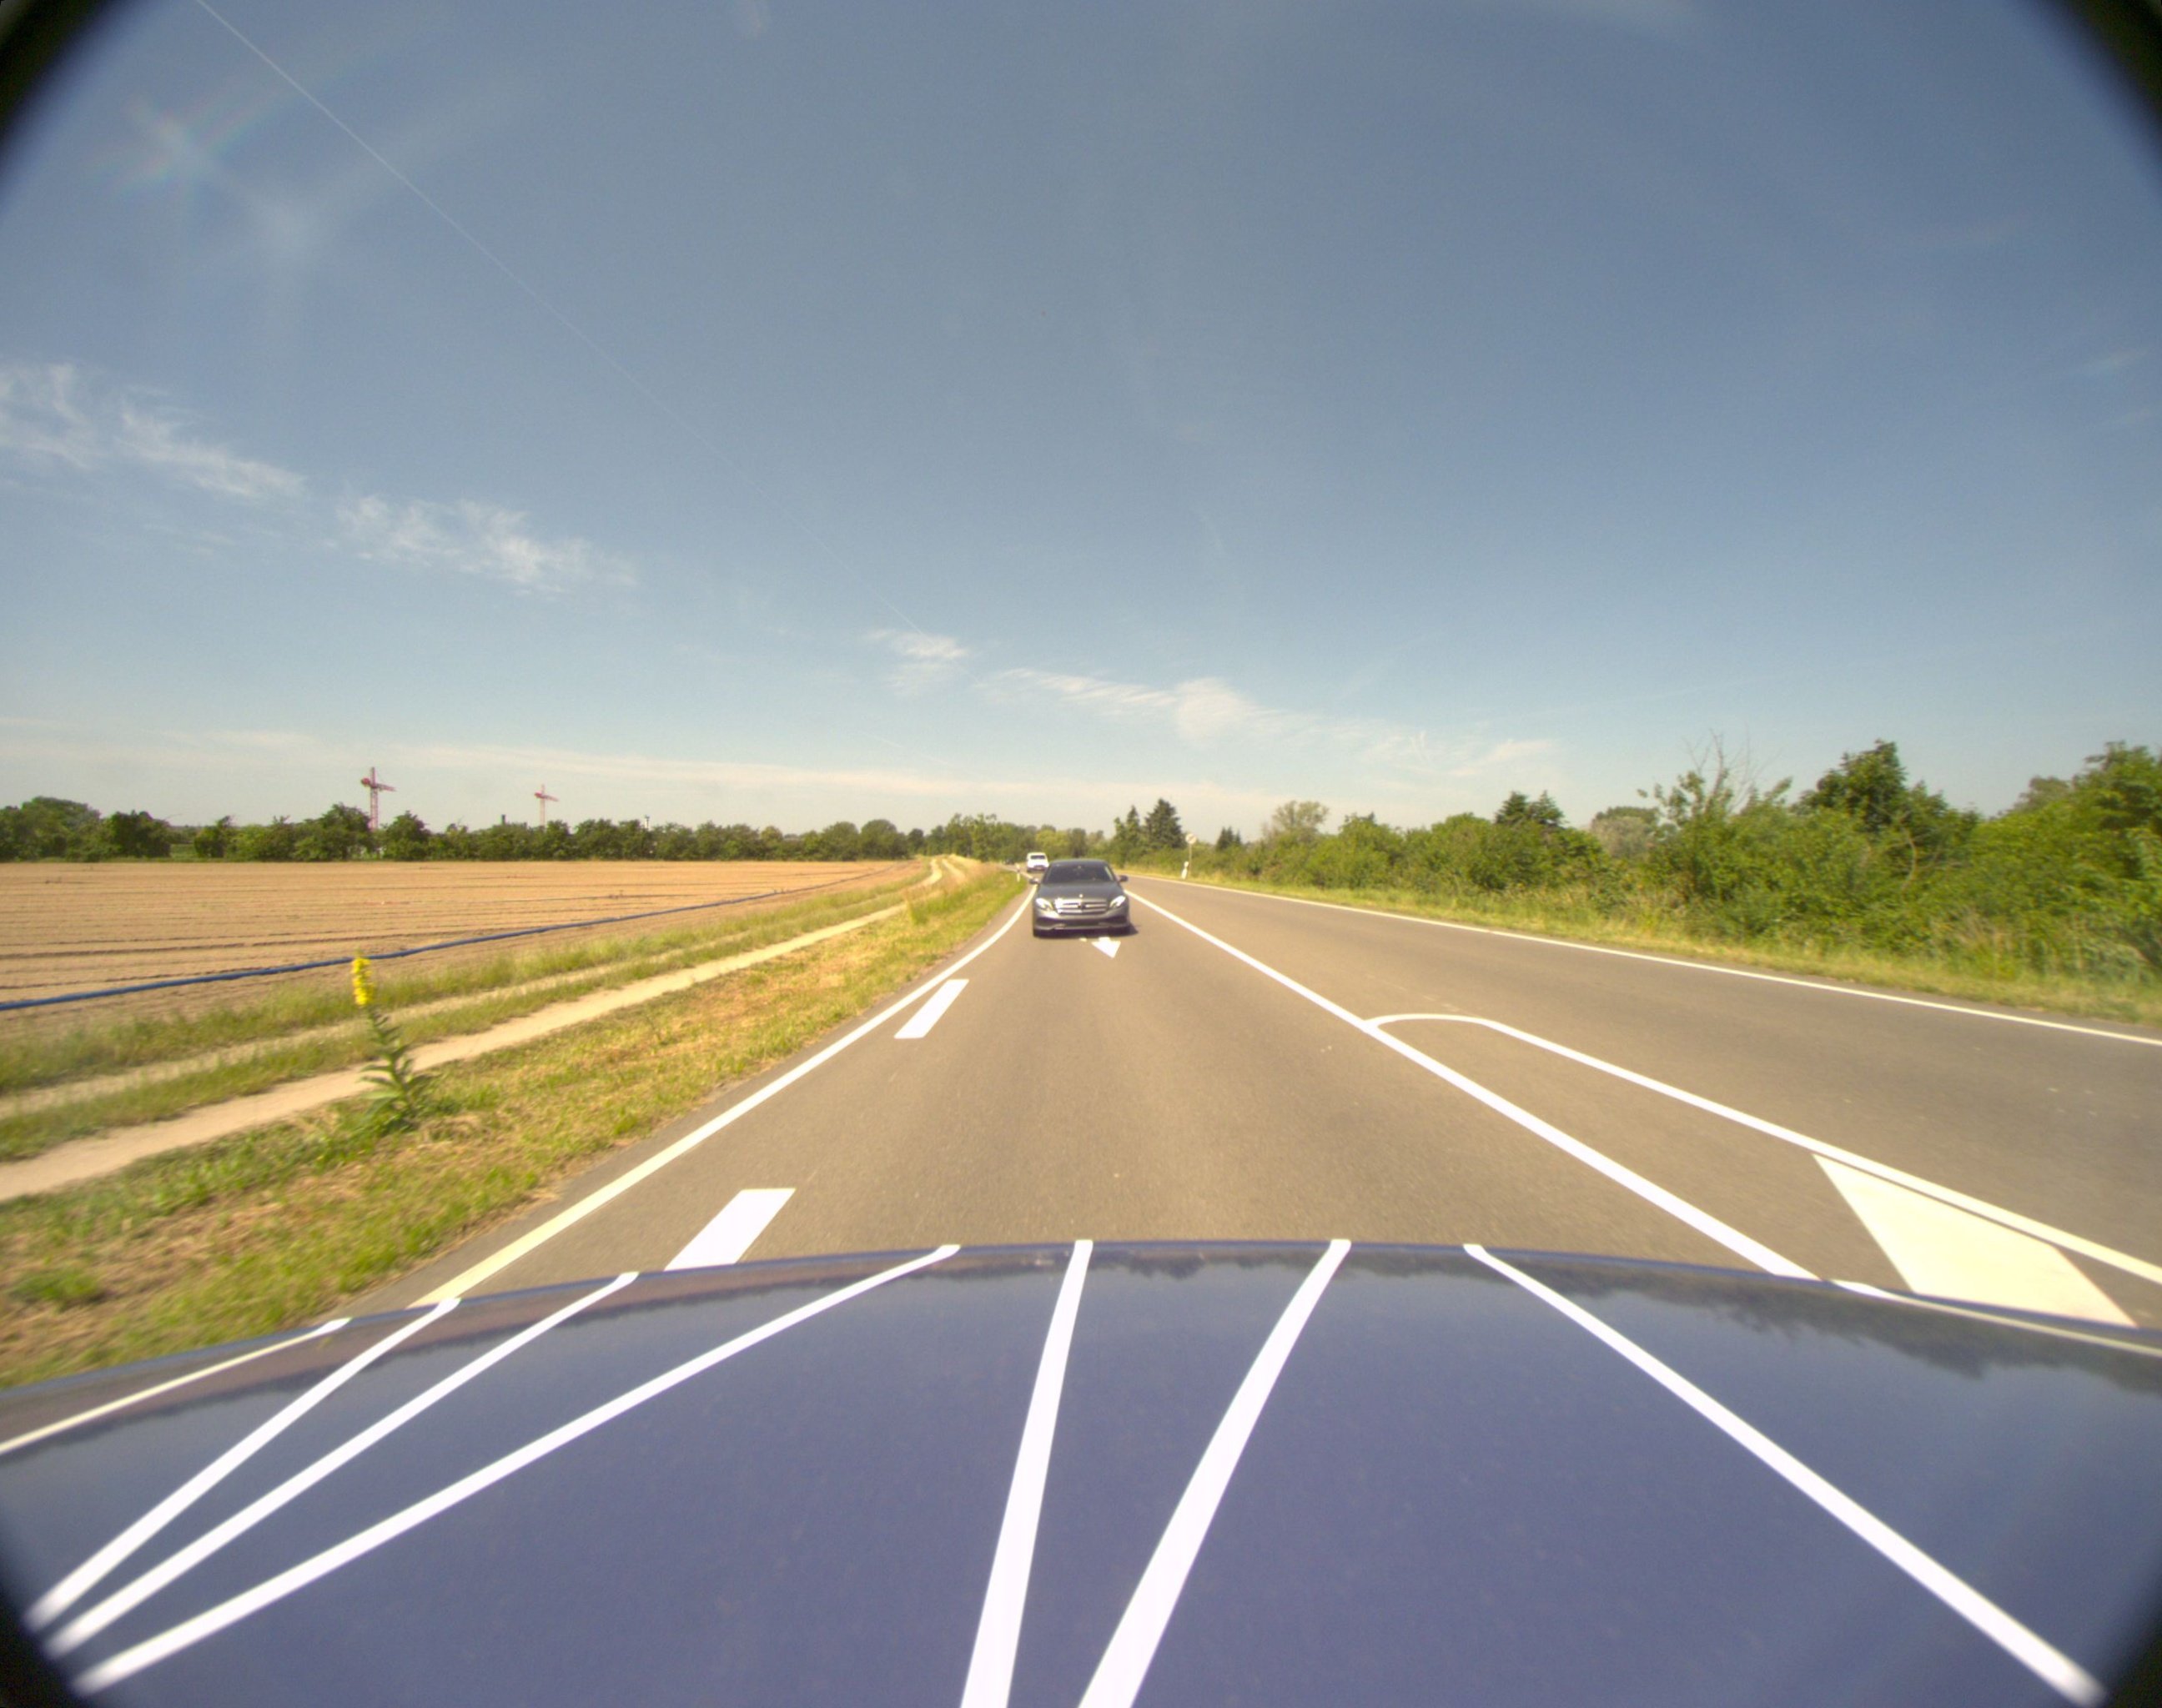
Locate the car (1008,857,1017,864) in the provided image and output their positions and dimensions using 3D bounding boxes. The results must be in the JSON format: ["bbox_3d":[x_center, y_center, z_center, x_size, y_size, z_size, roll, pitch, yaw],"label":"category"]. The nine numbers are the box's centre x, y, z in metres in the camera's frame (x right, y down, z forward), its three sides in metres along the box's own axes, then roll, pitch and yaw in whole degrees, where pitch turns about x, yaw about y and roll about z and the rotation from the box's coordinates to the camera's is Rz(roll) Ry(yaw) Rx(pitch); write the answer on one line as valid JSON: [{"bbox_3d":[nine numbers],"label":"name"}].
[{"bbox_3d":[-14.722,1.325,163.269,1.698,1.355,3.822,-2,1,-11],"label":"car"}]

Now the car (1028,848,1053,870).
[{"bbox_3d":[-3.951,0.488,73.571,2.180,2.002,5.023,-3,0,-4],"label":"car"}]

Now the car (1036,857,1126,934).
[{"bbox_3d":[0.028,0.875,17.980,1.831,1.540,4.499,-1,0,1],"label":"car"}]
